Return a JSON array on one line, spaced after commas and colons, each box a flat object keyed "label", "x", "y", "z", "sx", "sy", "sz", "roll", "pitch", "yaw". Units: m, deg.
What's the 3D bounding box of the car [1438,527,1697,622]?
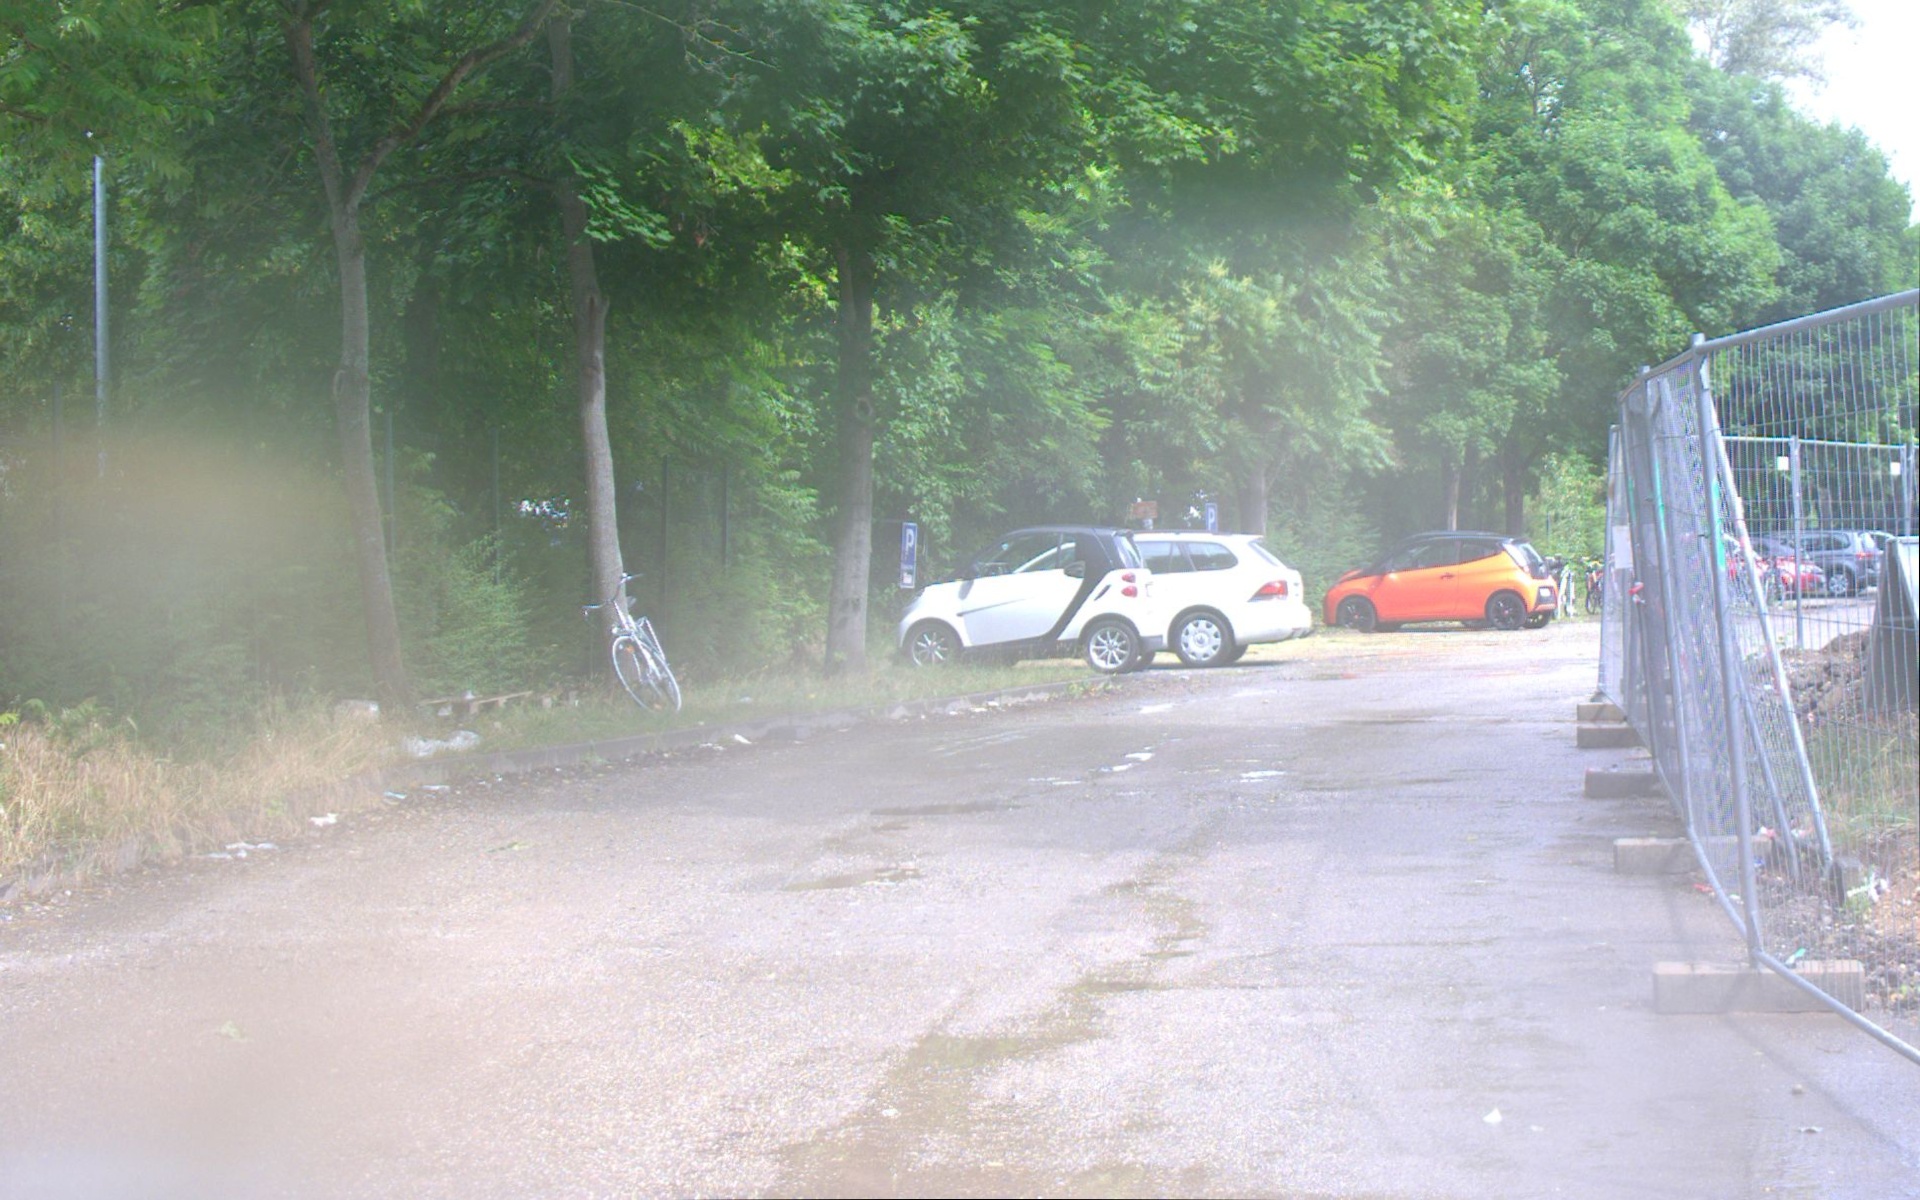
[{"label": "car", "x": 10.294, "y": -0.459, "z": 58.219, "sx": 3.991, "sy": 1.491, "sz": 1.992, "roll": 1, "pitch": 2, "yaw": 22}]

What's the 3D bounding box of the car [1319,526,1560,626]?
[{"label": "car", "x": 7.269, "y": -0.384, "z": 52.112, "sx": 3.288, "sy": 1.420, "sz": 1.590, "roll": 1, "pitch": 2, "yaw": 25}]

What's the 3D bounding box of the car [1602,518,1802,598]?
[{"label": "car", "x": 15.419, "y": -0.896, "z": 71.412, "sx": 3.860, "sy": 1.568, "sz": 1.957, "roll": 1, "pitch": 2, "yaw": 18}]

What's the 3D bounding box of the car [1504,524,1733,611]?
[{"label": "car", "x": 12.113, "y": -0.623, "z": 63.211, "sx": 3.945, "sy": 1.511, "sz": 1.804, "roll": 1, "pitch": 2, "yaw": 18}]

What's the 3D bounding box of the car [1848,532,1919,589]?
[{"label": "car", "x": 29.540, "y": -1.218, "z": 106.118, "sx": 3.990, "sy": 1.705, "sz": 1.912, "roll": 1, "pitch": 2, "yaw": 18}]

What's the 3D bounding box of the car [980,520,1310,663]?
[{"label": "car", "x": 2.075, "y": -0.107, "z": 37.948, "sx": 3.433, "sy": 1.463, "sz": 1.740, "roll": -1, "pitch": 2, "yaw": 10}]

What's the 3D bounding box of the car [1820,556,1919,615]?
[{"label": "car", "x": 27.038, "y": -0.421, "z": 100.053, "sx": 3.755, "sy": 1.633, "sz": 1.670, "roll": 1, "pitch": 2, "yaw": 18}]

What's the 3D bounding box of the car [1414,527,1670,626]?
[{"label": "car", "x": 9.518, "y": -0.407, "z": 56.223, "sx": 3.797, "sy": 1.524, "sz": 1.907, "roll": 1, "pitch": 2, "yaw": 23}]

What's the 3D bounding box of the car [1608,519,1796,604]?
[{"label": "car", "x": 14.933, "y": -0.789, "z": 69.144, "sx": 3.590, "sy": 1.615, "sz": 1.868, "roll": 1, "pitch": 2, "yaw": 15}]

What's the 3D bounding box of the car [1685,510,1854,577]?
[{"label": "car", "x": 19.723, "y": -1.390, "z": 83.741, "sx": 3.860, "sy": 1.568, "sz": 1.957, "roll": 1, "pitch": 2, "yaw": 18}]

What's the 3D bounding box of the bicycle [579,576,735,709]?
[{"label": "bicycle", "x": -2.119, "y": 0.286, "z": 24.212, "sx": 0.476, "sy": 0.857, "sz": 1.454, "roll": 1, "pitch": 2, "yaw": 22}]

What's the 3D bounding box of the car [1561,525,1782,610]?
[{"label": "car", "x": 13.759, "y": -0.646, "z": 66.458, "sx": 3.991, "sy": 1.554, "sz": 1.762, "roll": 1, "pitch": 2, "yaw": 19}]

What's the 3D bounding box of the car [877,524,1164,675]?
[{"label": "car", "x": 0.652, "y": -0.015, "z": 35.827, "sx": 2.755, "sy": 1.479, "sz": 1.592, "roll": -1, "pitch": 2, "yaw": 10}]

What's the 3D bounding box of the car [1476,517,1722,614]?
[{"label": "car", "x": 11.345, "y": -0.633, "z": 60.987, "sx": 4.111, "sy": 1.644, "sz": 1.845, "roll": 1, "pitch": 2, "yaw": 17}]
